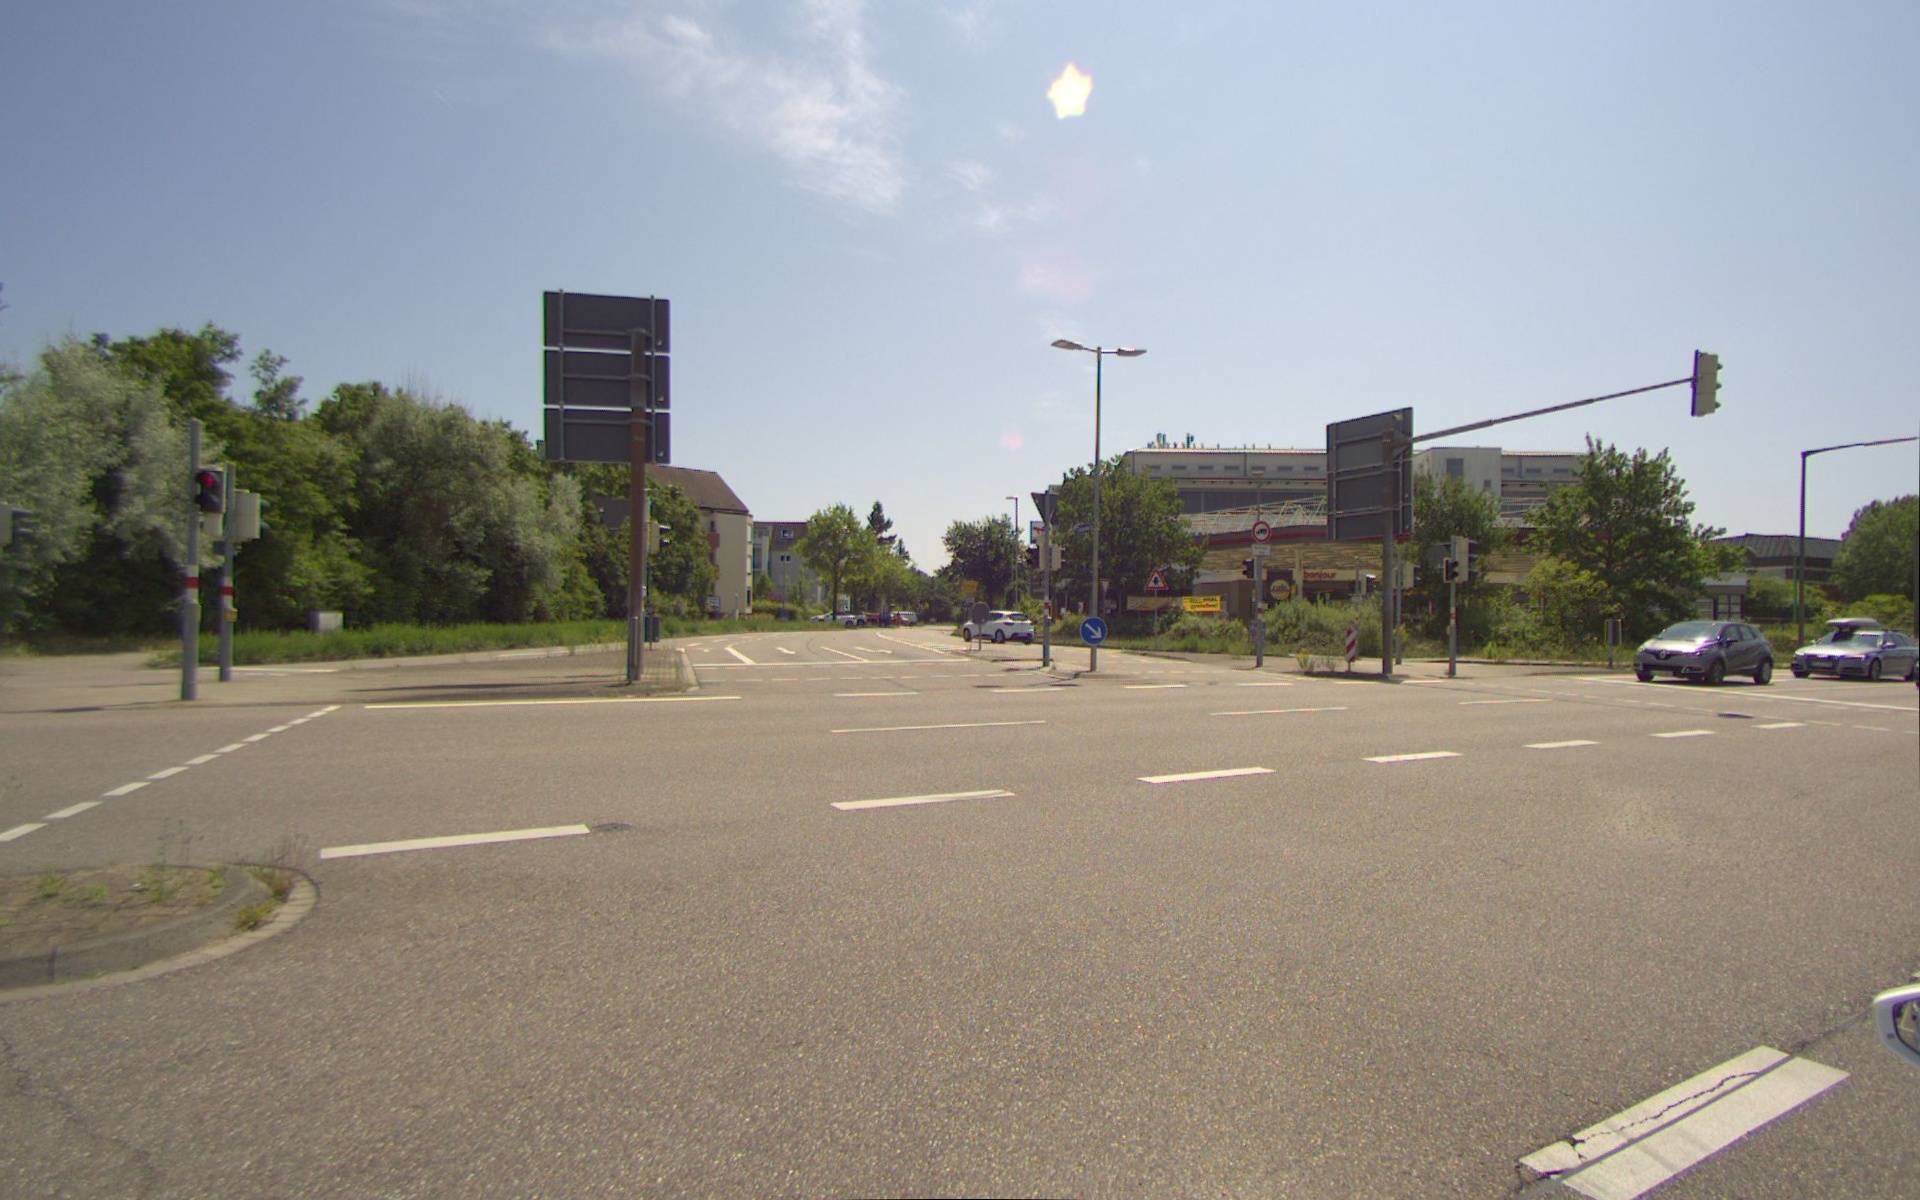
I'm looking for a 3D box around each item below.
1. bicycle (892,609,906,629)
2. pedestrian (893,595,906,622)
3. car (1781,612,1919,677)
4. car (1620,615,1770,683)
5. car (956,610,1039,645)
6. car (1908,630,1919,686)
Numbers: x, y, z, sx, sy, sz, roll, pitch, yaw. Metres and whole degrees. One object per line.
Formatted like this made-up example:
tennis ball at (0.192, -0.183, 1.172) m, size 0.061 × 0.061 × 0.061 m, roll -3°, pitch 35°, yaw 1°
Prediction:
bicycle at (-6.297, 1.961, 103.923) m, size 0.876 × 2.040 × 3.196 m, roll 1°, pitch -1°, yaw 6°
pedestrian at (-6.265, 0.879, 104.015) m, size 0.864 × 2.751 × 1.518 m, roll 2°, pitch 0°, yaw 9°
car at (26.567, 1.296, 29.707) m, size 4.964 × 1.773 × 1.955 m, roll 1°, pitch -1°, yaw -31°
car at (18.727, 1.208, 25.570) m, size 3.954 × 1.560 × 1.650 m, roll 1°, pitch 1°, yaw -31°
car at (1.647, 1.213, 45.234) m, size 1.812 × 1.469 × 3.788 m, roll 2°, pitch -1°, yaw -36°
car at (25.976, 1.504, 25.609) m, size 3.957 × 1.403 × 1.589 m, roll 1°, pitch 0°, yaw -31°
